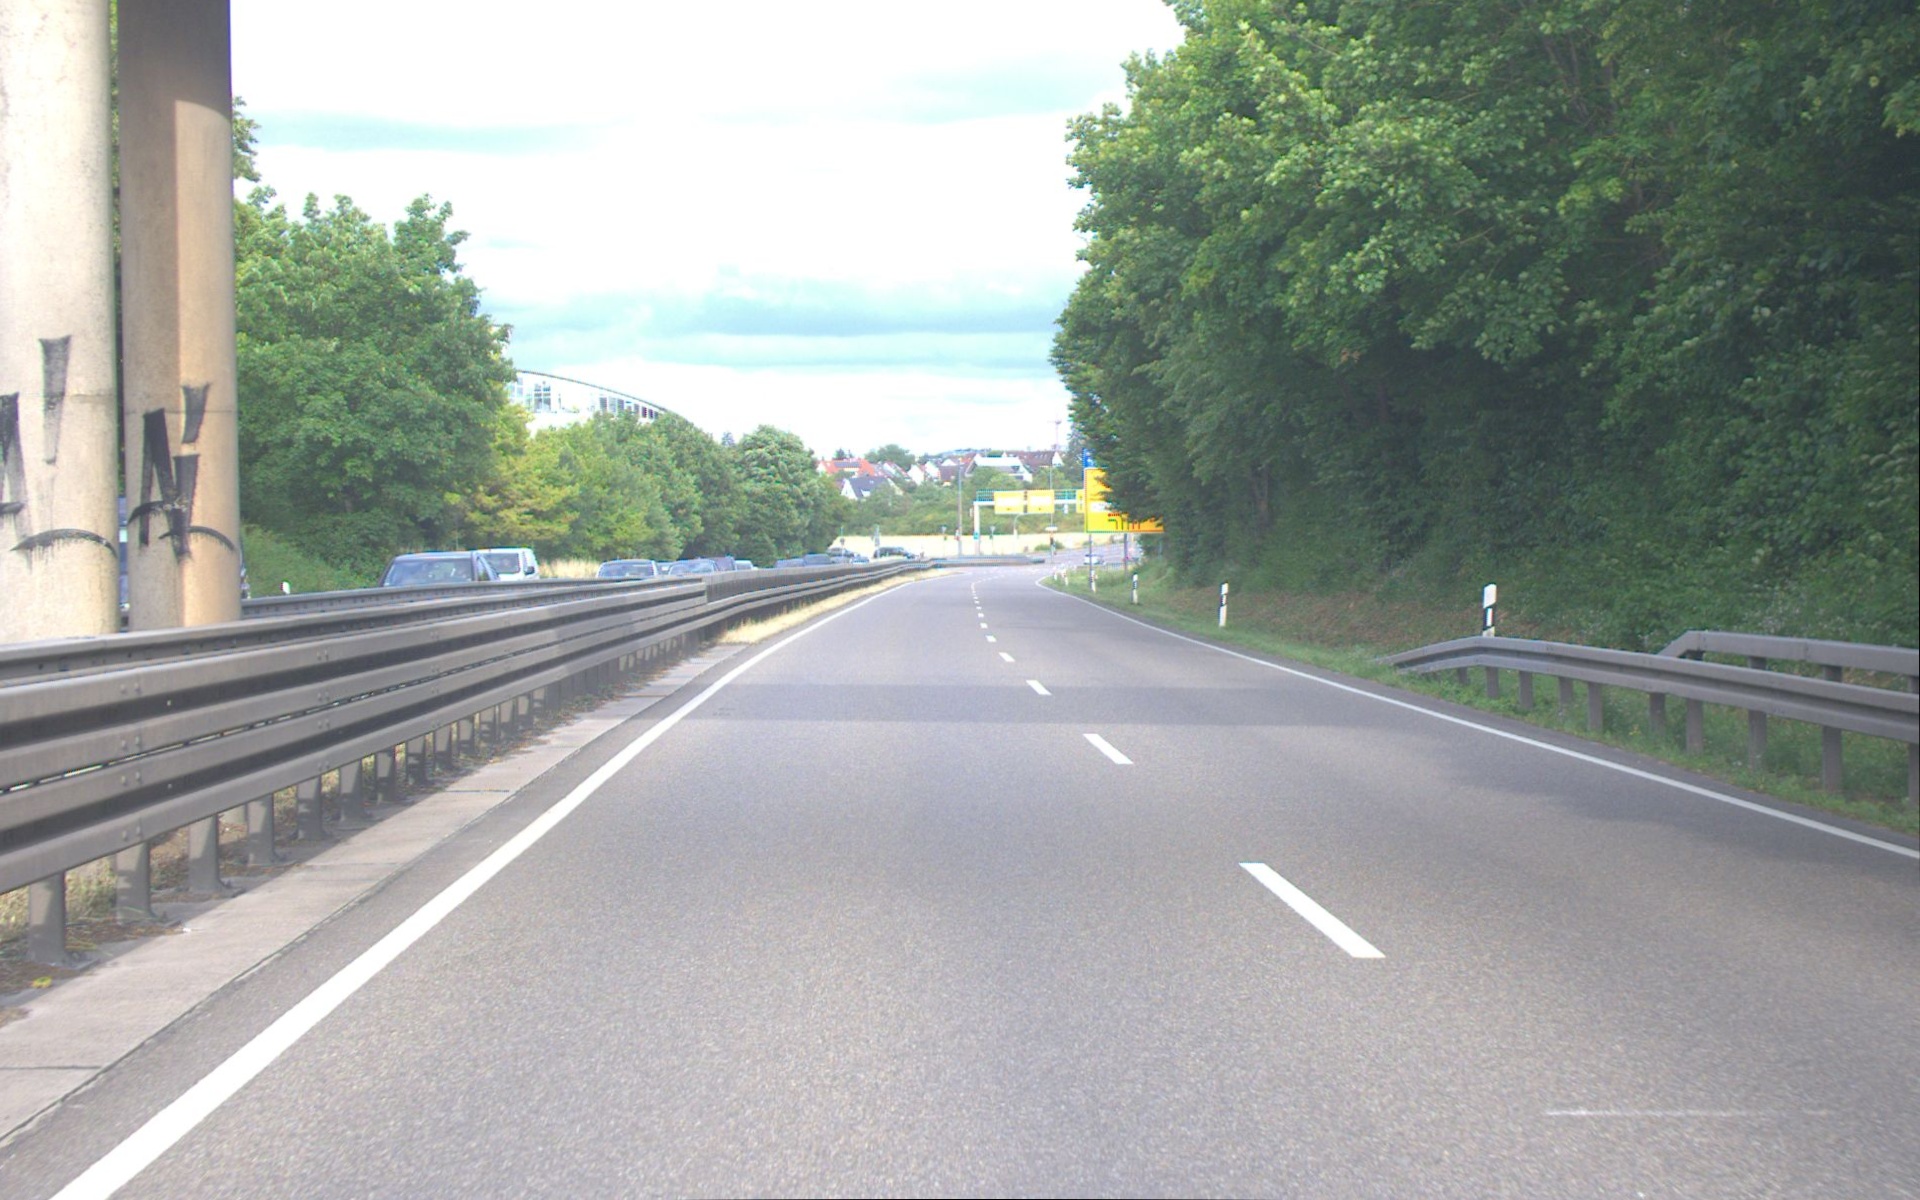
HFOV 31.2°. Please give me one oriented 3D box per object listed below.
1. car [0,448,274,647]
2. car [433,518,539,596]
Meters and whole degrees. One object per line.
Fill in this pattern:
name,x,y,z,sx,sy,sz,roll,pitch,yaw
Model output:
car,-11.250,-0.725,47.244,2.249,2.528,6.941,0,1,0
car,-11.567,-1.056,84.143,1.867,1.849,4.623,0,1,1
